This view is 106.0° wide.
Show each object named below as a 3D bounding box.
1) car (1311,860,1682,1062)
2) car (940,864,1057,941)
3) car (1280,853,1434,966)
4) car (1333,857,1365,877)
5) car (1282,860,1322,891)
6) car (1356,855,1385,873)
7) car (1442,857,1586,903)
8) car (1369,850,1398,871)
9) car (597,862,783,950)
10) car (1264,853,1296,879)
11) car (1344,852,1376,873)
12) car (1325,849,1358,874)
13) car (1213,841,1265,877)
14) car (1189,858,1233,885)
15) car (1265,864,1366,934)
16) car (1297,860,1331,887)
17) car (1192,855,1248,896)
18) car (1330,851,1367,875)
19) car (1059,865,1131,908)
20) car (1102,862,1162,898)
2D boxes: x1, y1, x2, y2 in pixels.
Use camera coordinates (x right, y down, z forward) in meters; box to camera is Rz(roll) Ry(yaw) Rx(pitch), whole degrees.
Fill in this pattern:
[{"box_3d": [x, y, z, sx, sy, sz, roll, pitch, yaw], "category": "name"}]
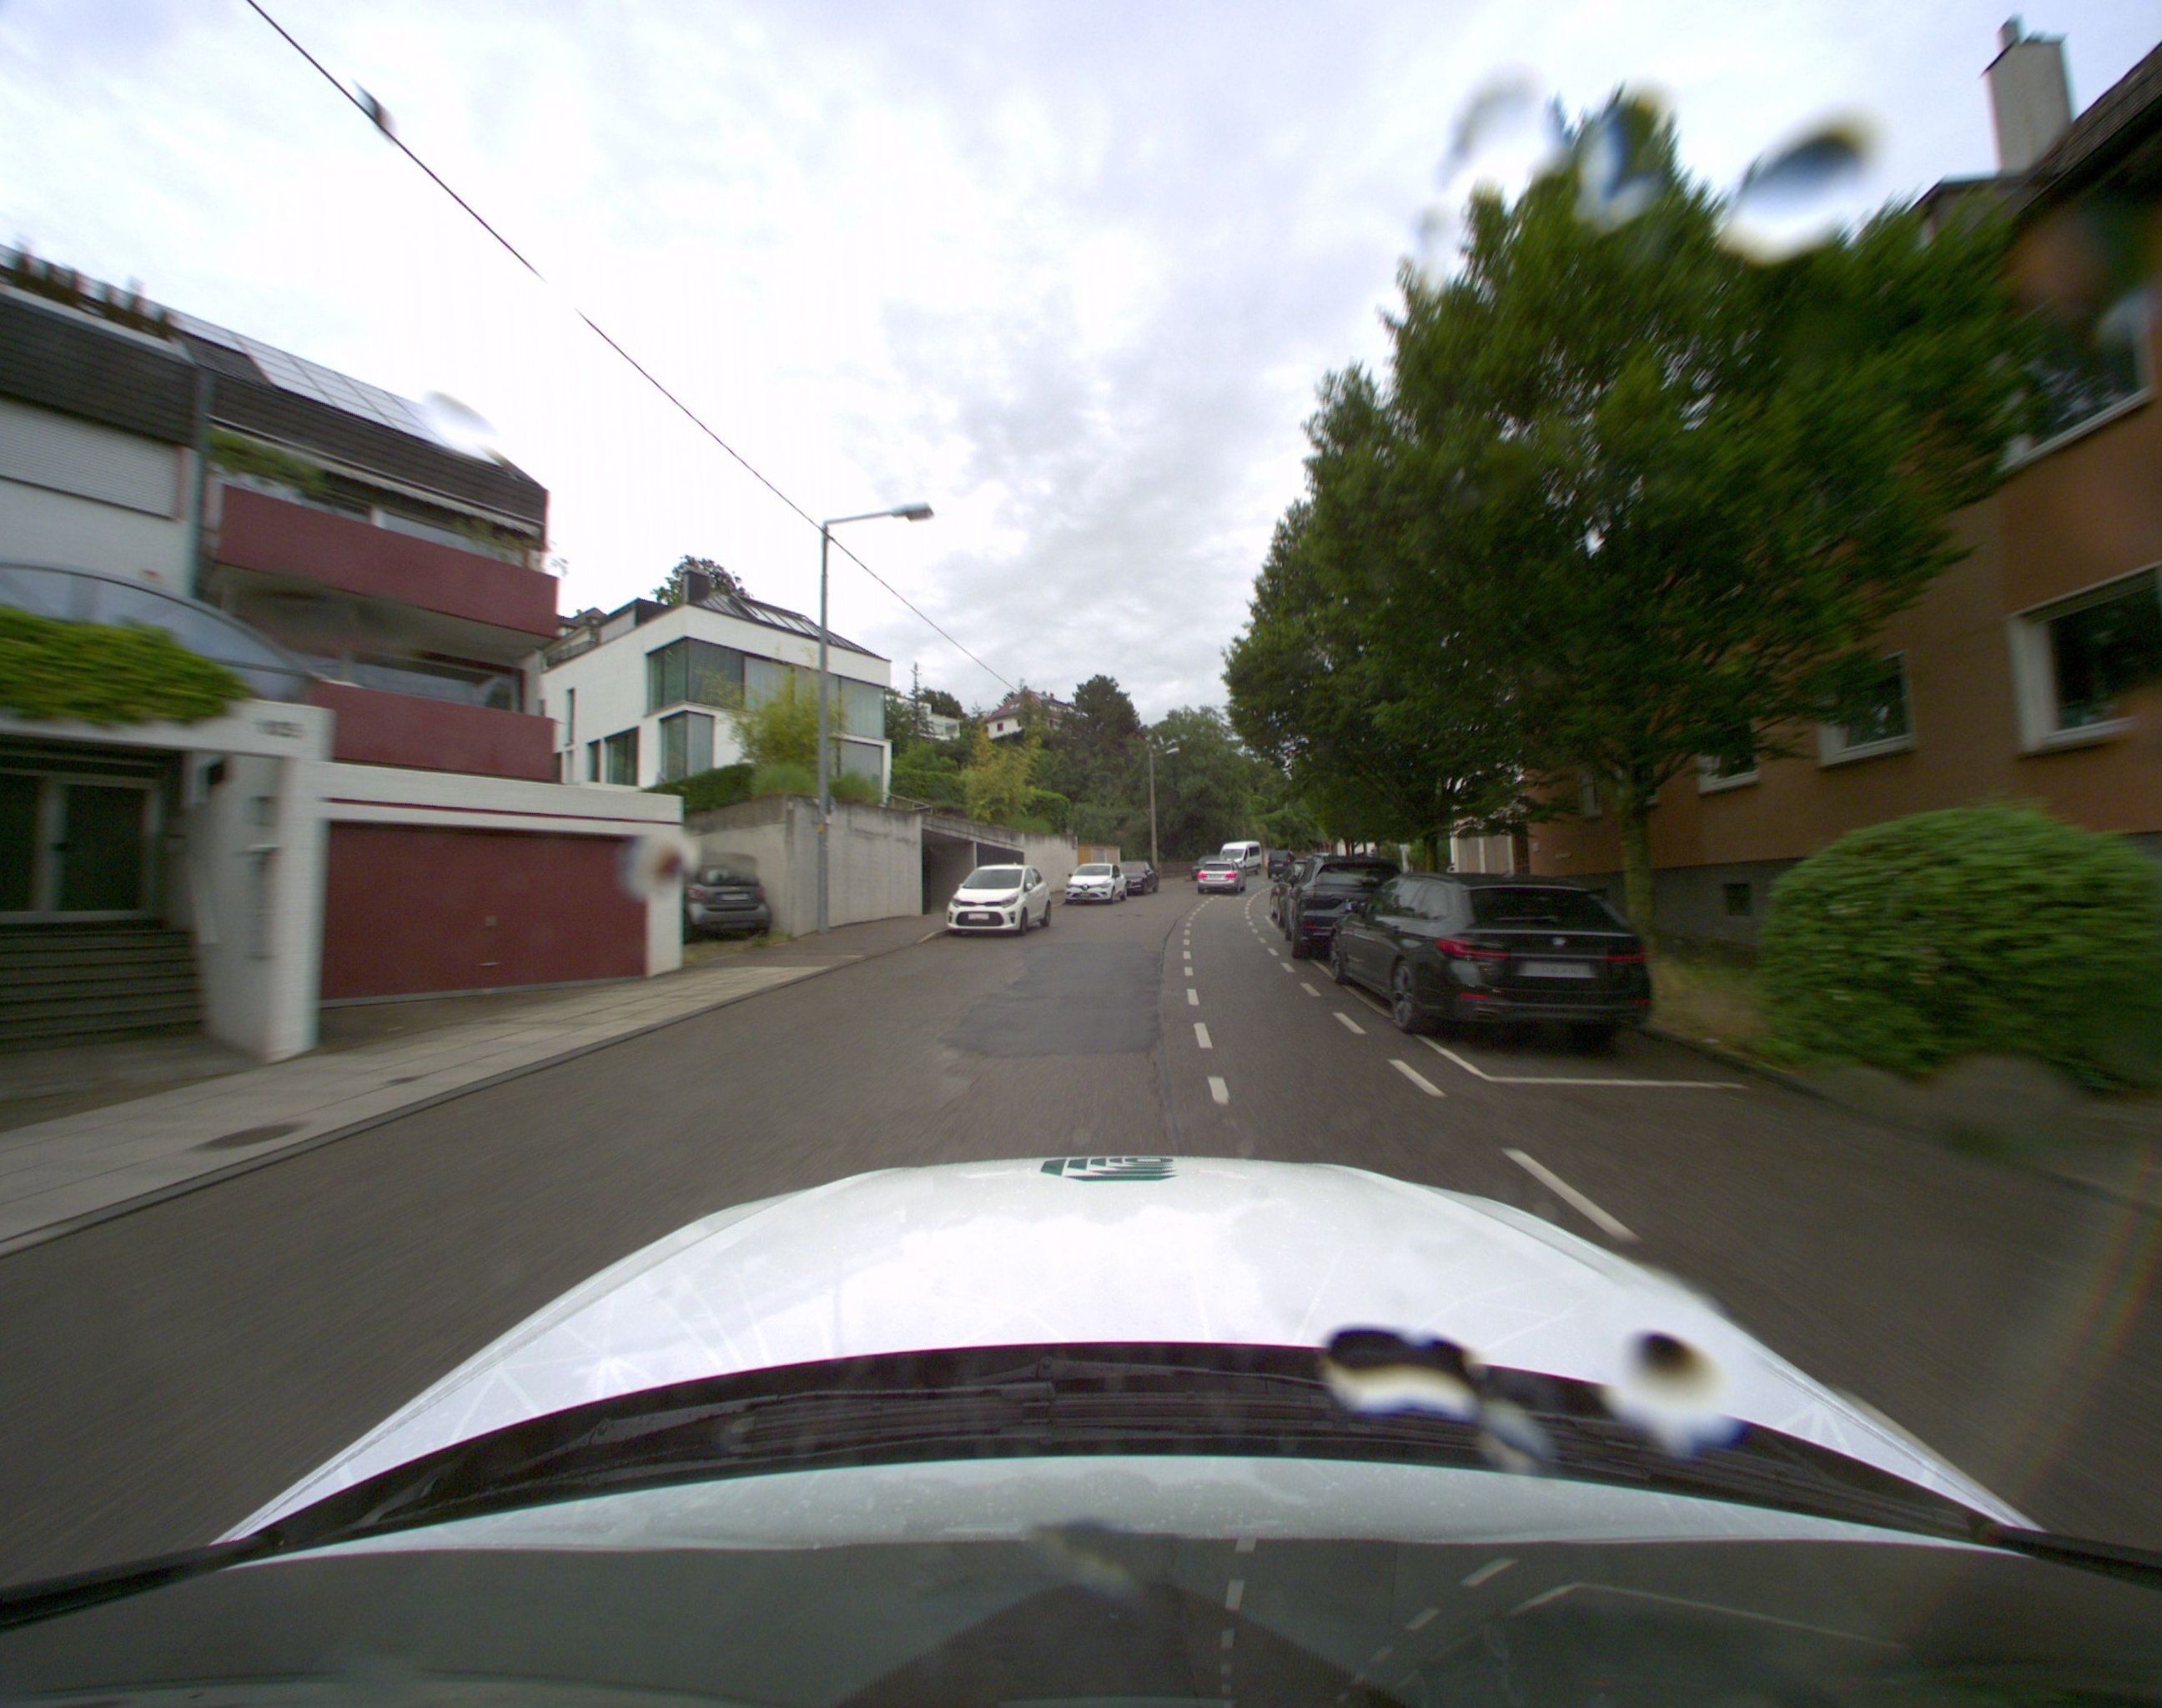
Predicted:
[{"box_3d": [3.950, 0.869, 8.852, 1.846, 1.581, 4.863, -1, -1, 4], "category": "car"}, {"box_3d": [-1.740, 1.020, 18.447, 1.617, 1.516, 3.843, -1, 0, 10], "category": "car"}, {"box_3d": [4.722, 0.847, 14.711, 2.040, 1.656, 5.253, -1, -1, 12], "category": "car"}, {"box_3d": [20.264, 0.976, 61.481, 1.627, 1.424, 4.313, 1, 1, 27], "category": "car"}, {"box_3d": [11.287, 1.044, 41.466, 1.654, 1.471, 3.728, 1, 0, 20], "category": "car"}, {"box_3d": [25.304, 0.850, 71.085, 1.633, 1.481, 4.045, -1, 0, 31], "category": "car"}, {"box_3d": [15.225, 0.913, 28.900, 4.267, 1.465, 1.944, 1, -2, 20], "category": "car"}, {"box_3d": [28.035, 0.606, 75.462, 1.761, 1.852, 4.452, -1, 1, 30], "category": "car"}, {"box_3d": [-7.859, 0.937, 16.258, 3.881, 1.478, 1.779, 1, 0, 37], "category": "car"}, {"box_3d": [13.747, 0.803, 56.080, 1.978, 1.708, 4.017, -1, -1, 16], "category": "car"}, {"box_3d": [22.711, 0.669, 66.241, 1.698, 1.556, 4.189, 1, 1, 29], "category": "car"}, {"box_3d": [16.246, 0.442, 50.735, 1.640, 1.519, 4.021, 0, 0, 22], "category": "car"}, {"box_3d": [11.862, 0.323, 60.863, 2.074, 2.550, 6.134, -2, 0, 27], "category": "car"}, {"box_3d": [8.650, 1.129, 53.902, 1.879, 1.691, 4.569, -2, -1, 21], "category": "car"}, {"box_3d": [5.729, 1.011, 20.443, 1.850, 1.469, 5.069, 1, 0, 10], "category": "car"}, {"box_3d": [13.710, 1.120, 47.839, 1.612, 1.563, 3.038, 0, 0, 21], "category": "car"}, {"box_3d": [6.284, 0.927, 36.545, 2.010, 1.708, 4.233, -1, -1, 16], "category": "car"}, {"box_3d": [18.235, 0.562, 55.361, 1.759, 1.553, 4.756, 0, 0, 26], "category": "car"}, {"box_3d": [0.591, 1.145, 30.207, 1.819, 1.440, 4.054, -2, -1, 13], "category": "car"}, {"box_3d": [2.388, 1.136, 36.701, 1.700, 1.459, 4.702, -1, -1, 16], "category": "car"}]
